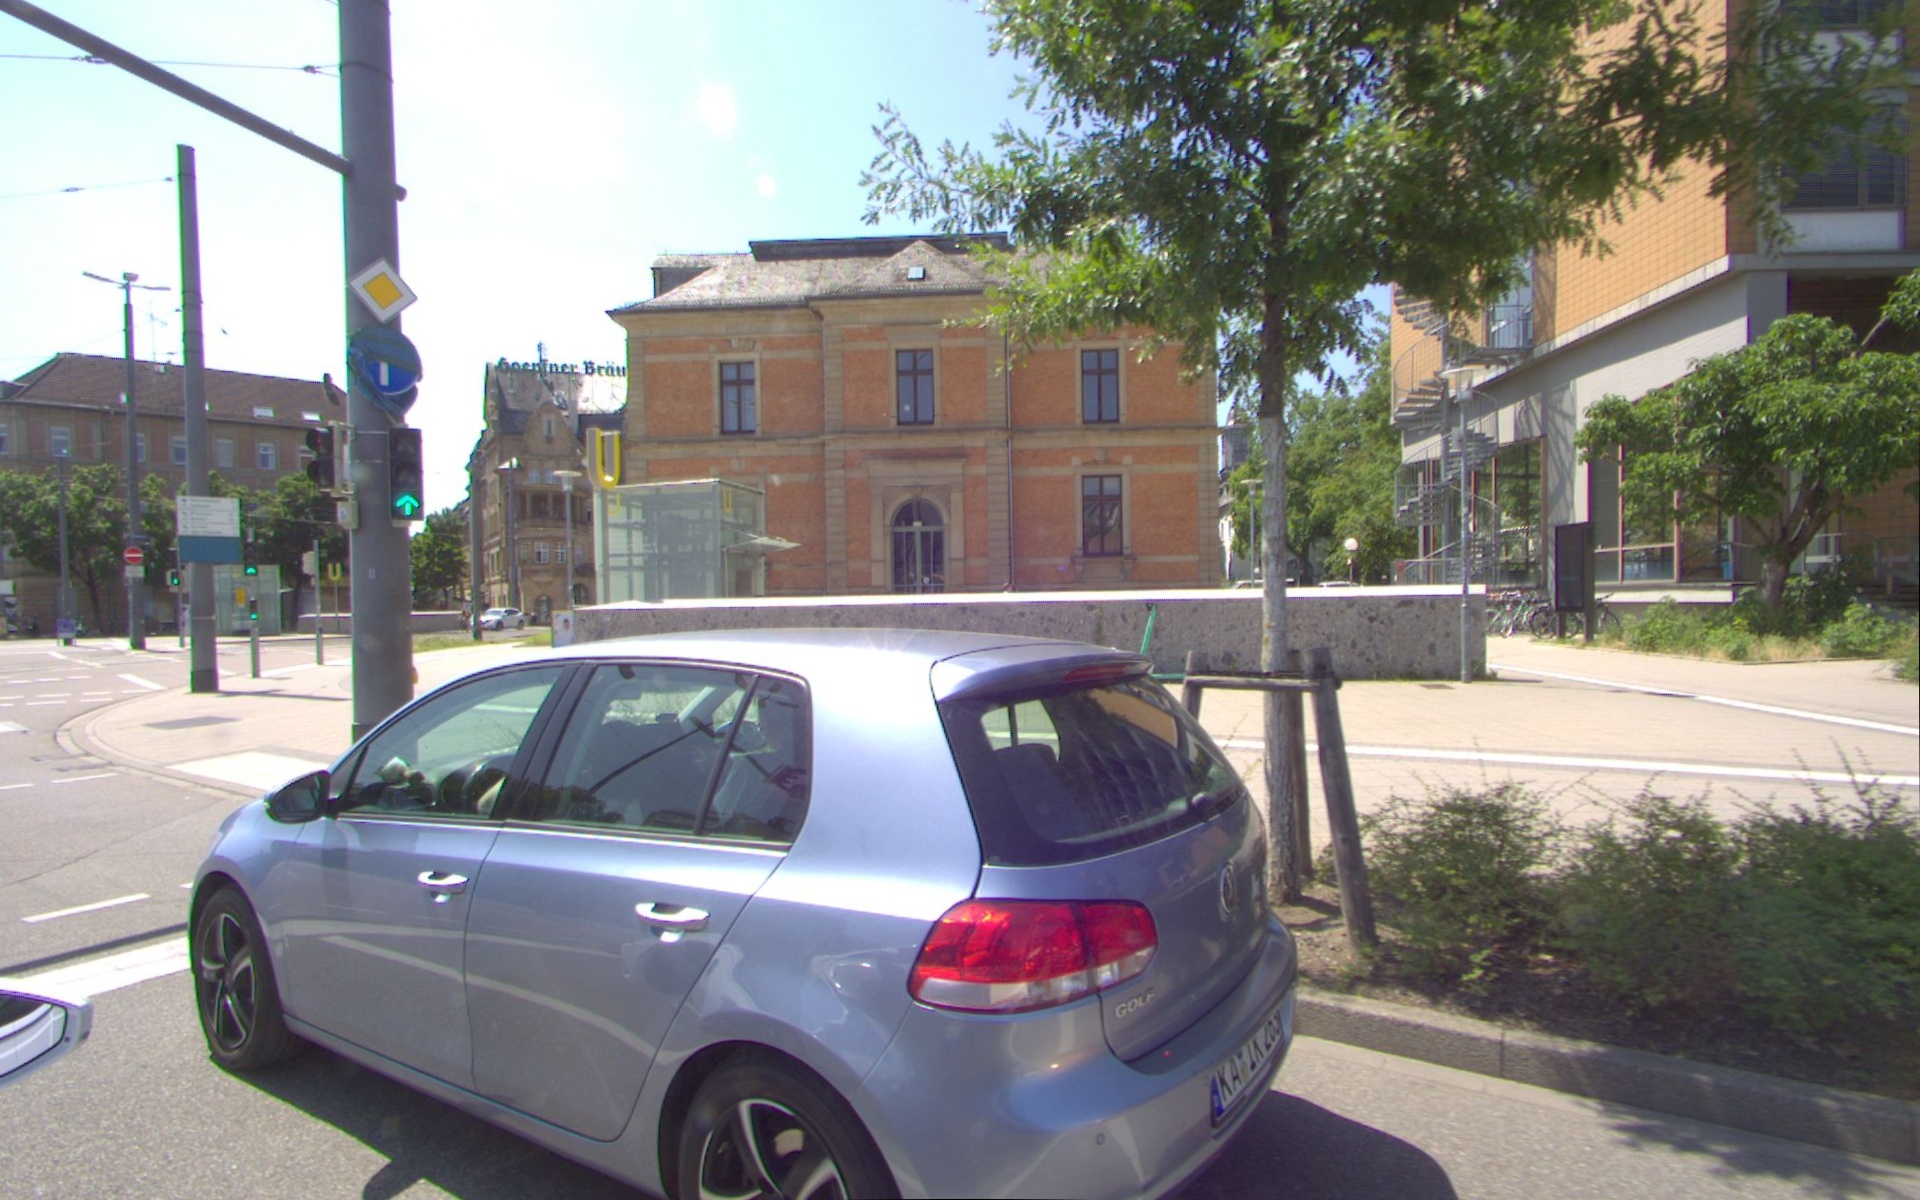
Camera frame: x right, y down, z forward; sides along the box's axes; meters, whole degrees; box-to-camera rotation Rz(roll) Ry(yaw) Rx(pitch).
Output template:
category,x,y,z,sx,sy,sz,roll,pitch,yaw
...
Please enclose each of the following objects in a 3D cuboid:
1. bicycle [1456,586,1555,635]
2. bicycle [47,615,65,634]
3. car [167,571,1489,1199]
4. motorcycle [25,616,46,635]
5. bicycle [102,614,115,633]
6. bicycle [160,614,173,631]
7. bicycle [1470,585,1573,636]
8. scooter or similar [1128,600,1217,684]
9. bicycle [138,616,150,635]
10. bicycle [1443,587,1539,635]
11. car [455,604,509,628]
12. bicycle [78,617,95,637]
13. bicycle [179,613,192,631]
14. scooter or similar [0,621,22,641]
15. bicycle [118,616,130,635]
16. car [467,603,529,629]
category,x,y,z,sx,sy,sz,roll,pitch,yaw
bicycle,14.215,0.284,26.132,2.175,1.234,0.637,-1,-1,6
bicycle,-54.728,1.500,60.641,1.798,1.134,0.548,-1,1,40
car,-0.650,0.744,3.103,3.947,1.478,1.648,-1,-1,33
motorcycle,-55.286,1.528,59.888,1.921,1.089,0.578,-1,1,37
bicycle,-53.073,1.473,62.406,0.547,1.134,1.804,-1,0,-41
bicycle,-51.420,1.449,64.868,0.547,1.134,1.854,-1,0,-41
bicycle,14.135,0.271,25.258,2.175,1.234,0.637,-1,-1,6
scooter or similar,3.078,0.605,14.495,1.227,1.186,0.458,-1,1,13
bicycle,-51.896,1.615,63.698,0.547,1.134,1.873,-1,0,-41
bicycle,14.212,0.312,26.835,2.175,1.234,0.637,-1,-1,6
car,-33.862,1.121,70.990,1.662,1.626,3.651,-1,0,9
bicycle,-53.801,1.680,61.682,2.069,1.160,0.440,-2,-2,40
bicycle,-50.947,1.439,65.881,0.547,1.134,1.913,-1,0,-41
scooter or similar,-58.060,1.884,60.645,0.588,1.197,1.789,-1,0,16
bicycle,-52.478,1.589,62.879,0.547,1.134,1.804,-1,0,-41
car,-30.692,1.042,66.605,1.662,1.626,4.191,-1,0,9
